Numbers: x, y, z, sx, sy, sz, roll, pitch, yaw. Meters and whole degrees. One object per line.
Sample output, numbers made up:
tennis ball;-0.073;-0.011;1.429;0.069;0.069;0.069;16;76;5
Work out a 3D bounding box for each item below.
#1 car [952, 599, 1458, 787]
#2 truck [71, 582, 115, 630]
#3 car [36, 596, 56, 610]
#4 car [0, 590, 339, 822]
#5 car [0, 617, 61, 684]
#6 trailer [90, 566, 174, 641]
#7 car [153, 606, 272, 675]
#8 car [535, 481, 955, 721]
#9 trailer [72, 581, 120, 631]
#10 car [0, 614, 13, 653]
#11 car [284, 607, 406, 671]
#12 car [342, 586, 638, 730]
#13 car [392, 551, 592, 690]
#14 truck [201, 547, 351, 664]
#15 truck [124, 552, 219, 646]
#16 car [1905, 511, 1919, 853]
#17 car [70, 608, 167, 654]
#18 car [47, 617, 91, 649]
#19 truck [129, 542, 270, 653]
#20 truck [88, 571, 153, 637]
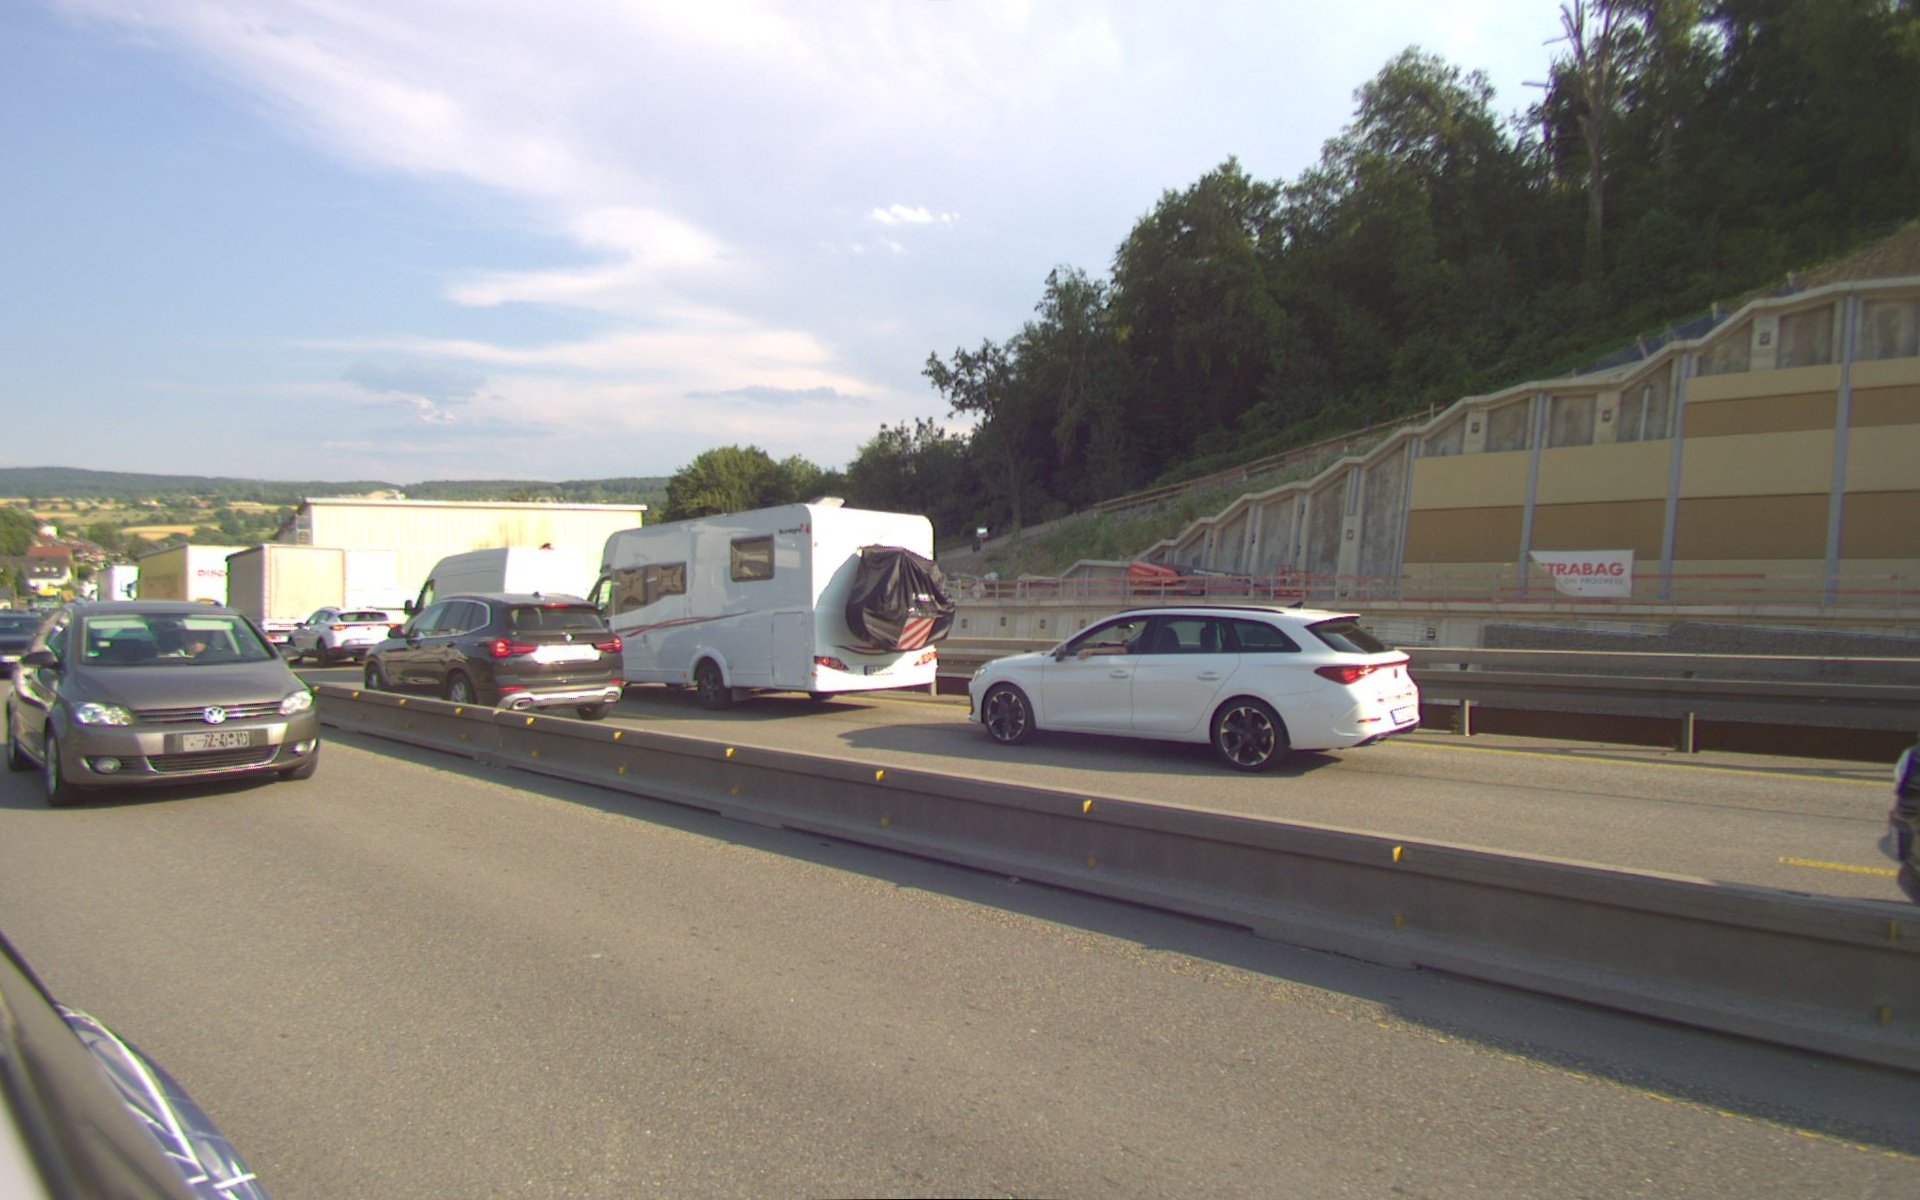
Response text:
car;2.206;0.732;10.019;4.608;1.433;1.730;0;0;41
truck;-74.424;0.515;86.849;2.568;3.917;6.209;0;-1;-43
car;-142.462;0.480;157.685;4.753;2.015;1.798;-2;-3;42
car;-7.126;0.735;8.908;4.097;1.585;1.666;-1;0;41
car;-22.052;1.109;23.270;1.841;1.409;4.002;1;-1;-45
trailer;-50.080;0.234;60.993;2.824;4.066;13.982;0;-1;-44
car;-18.927;1.007;25.567;4.001;1.533;1.762;-2;0;44
car;-3.689;0.036;15.780;7.629;2.940;2.310;0;-1;41
trailer;-71.085;0.480;83.221;2.566;3.910;10.588;0;-1;-43
car;-36.788;1.285;38.058;1.674;1.409;4.004;-2;0;-43
car;-16.279;0.967;26.714;4.003;1.535;1.744;-1;0;43
car;-6.352;0.738;13.407;4.753;1.591;1.798;-2;-3;42
car;-10.277;0.409;21.950;5.749;2.640;1.935;0;-1;43
truck;-22.780;0.195;33.535;7.616;3.489;2.421;-1;-1;42
truck;-37.129;-0.006;47.560;6.103;4.119;2.683;0;-1;44
car;6.159;0.420;2.489;5.449;1.785;1.786;-2;-1;40
car;-29.615;1.117;35.562;4.727;1.498;2.035;-2;-4;44
car;-45.983;1.656;52.227;1.634;1.535;4.292;-1;0;-42
truck;-32.892;-0.040;43.407;14.158;4.119;2.677;0;-1;44
truck;-54.334;0.263;65.438;2.810;4.066;6.106;0;-1;-44
